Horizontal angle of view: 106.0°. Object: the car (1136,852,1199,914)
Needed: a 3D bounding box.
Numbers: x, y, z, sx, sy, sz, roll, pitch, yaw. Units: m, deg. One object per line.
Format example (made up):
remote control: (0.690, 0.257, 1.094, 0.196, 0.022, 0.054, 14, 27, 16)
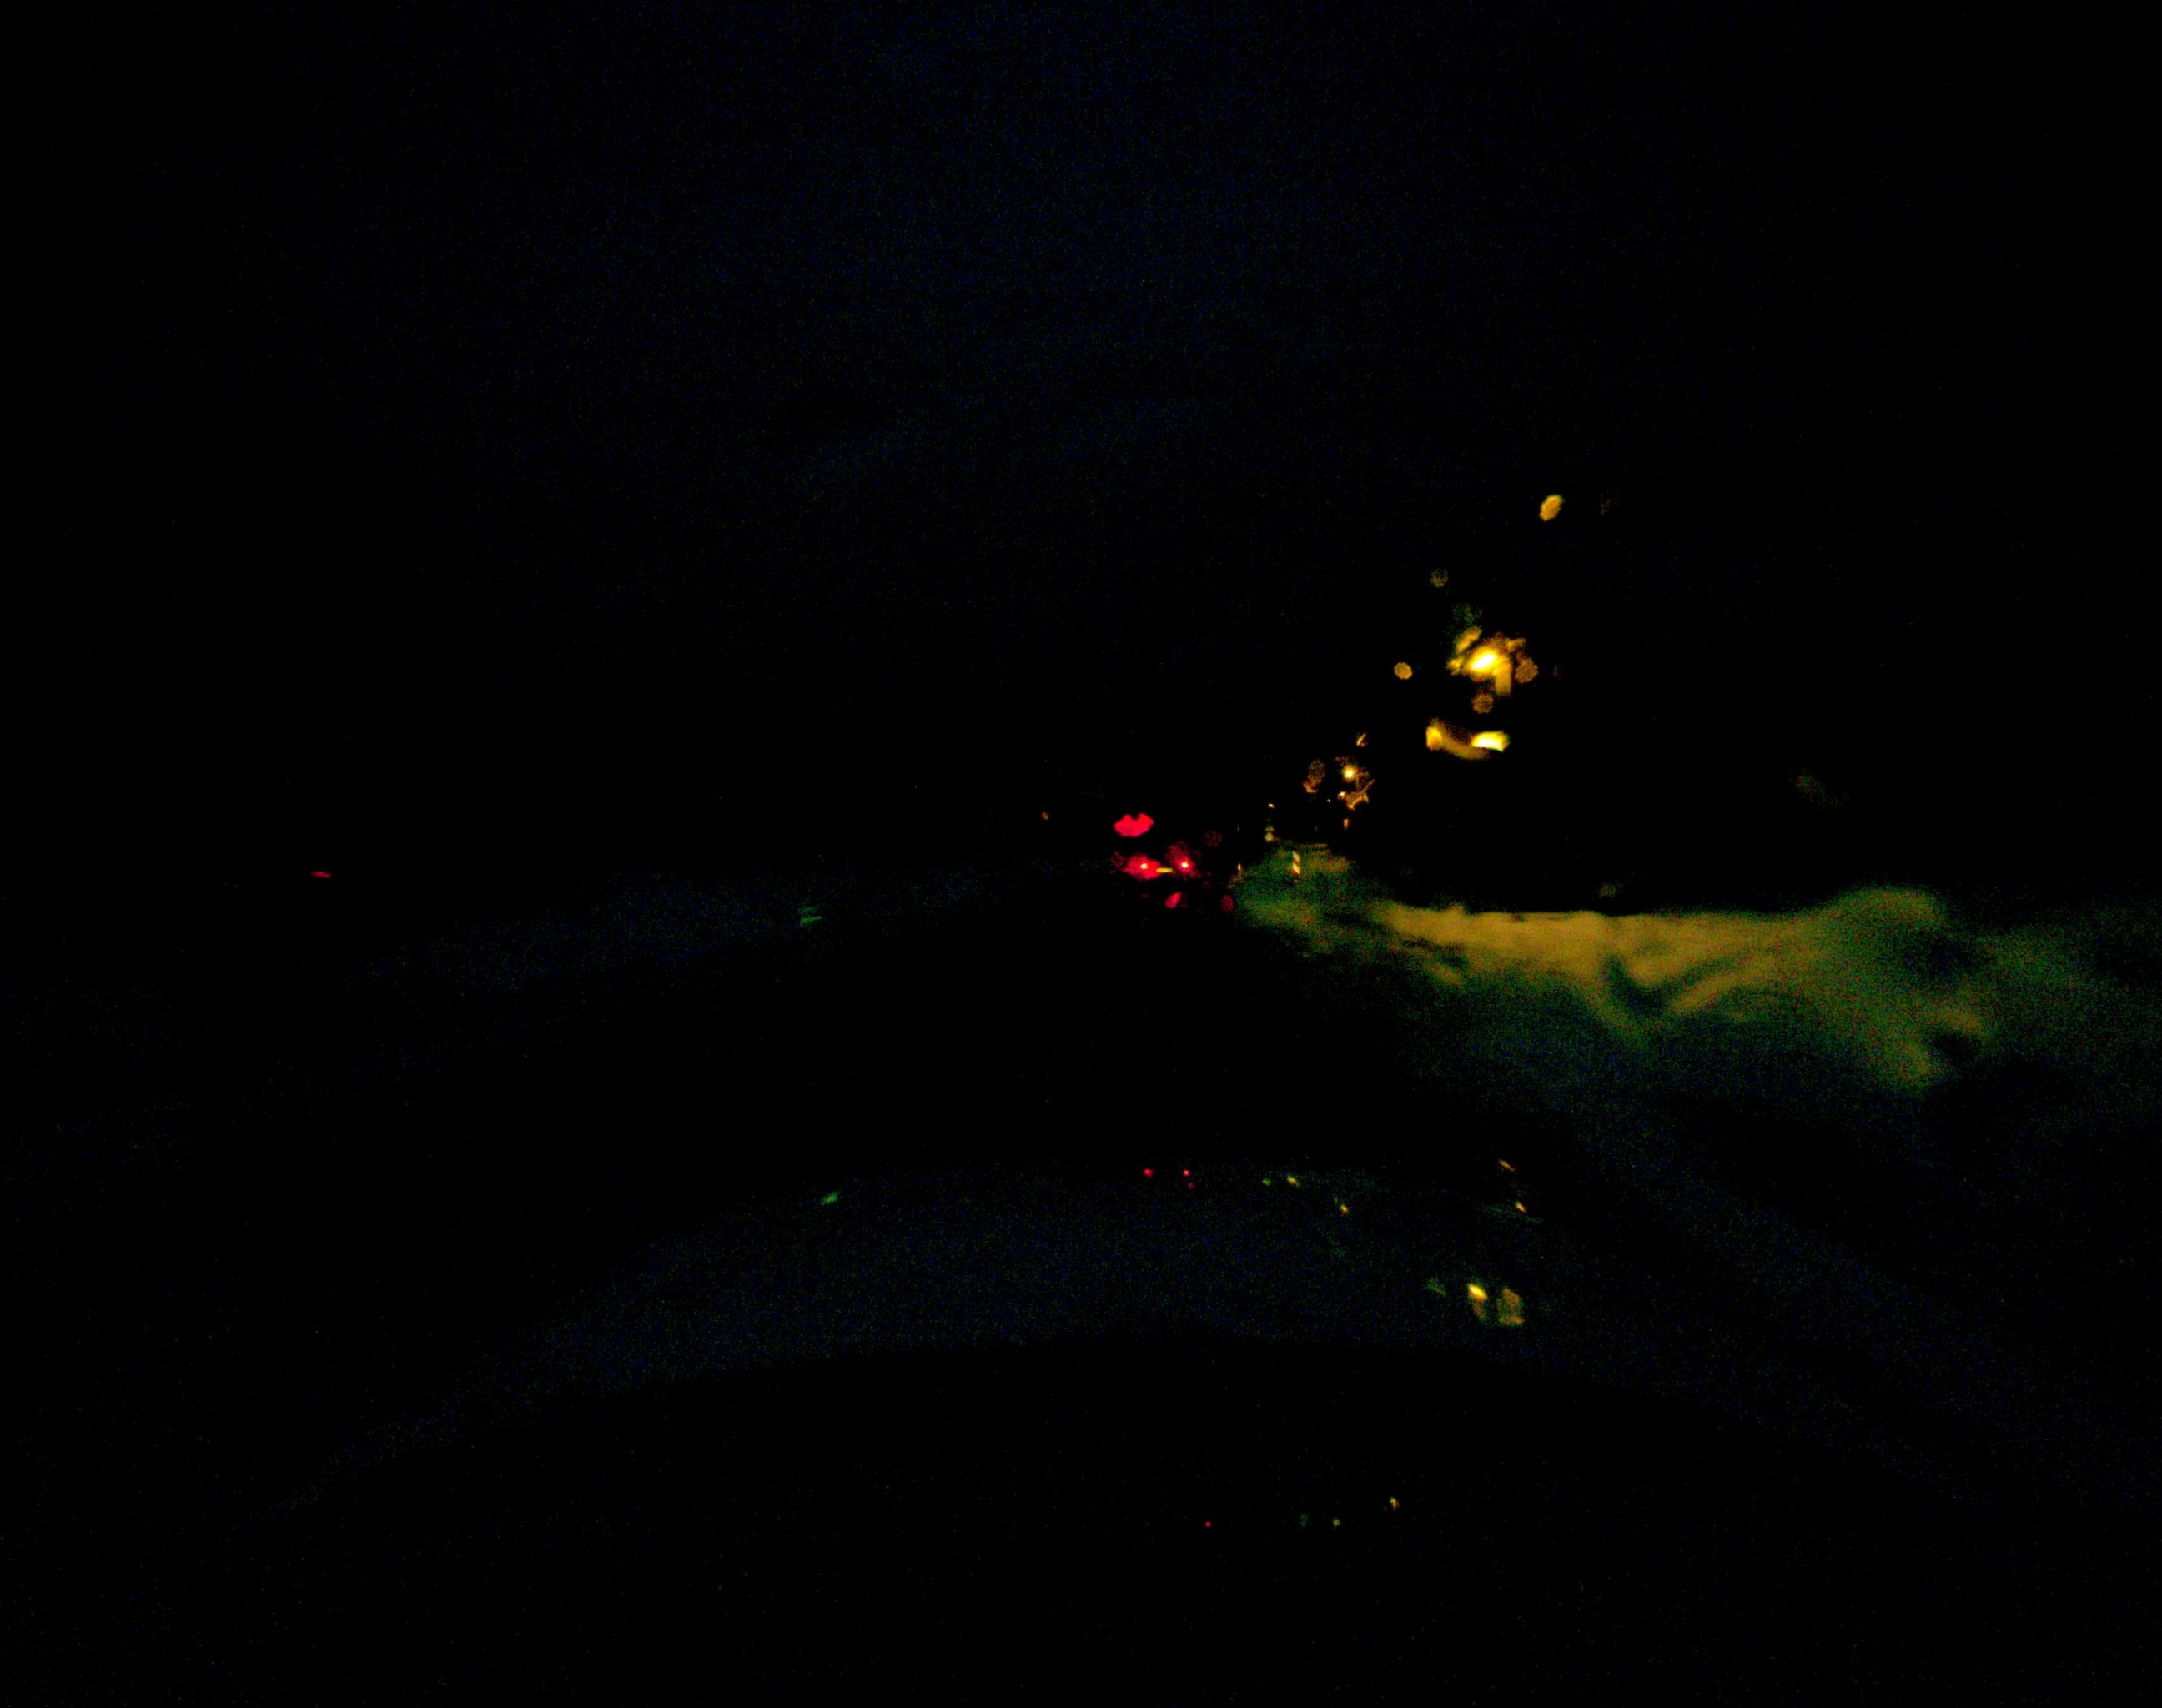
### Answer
car: (2.823, 0.919, 27.129, 1.814, 1.796, 3.581, -4, -1, 3)
